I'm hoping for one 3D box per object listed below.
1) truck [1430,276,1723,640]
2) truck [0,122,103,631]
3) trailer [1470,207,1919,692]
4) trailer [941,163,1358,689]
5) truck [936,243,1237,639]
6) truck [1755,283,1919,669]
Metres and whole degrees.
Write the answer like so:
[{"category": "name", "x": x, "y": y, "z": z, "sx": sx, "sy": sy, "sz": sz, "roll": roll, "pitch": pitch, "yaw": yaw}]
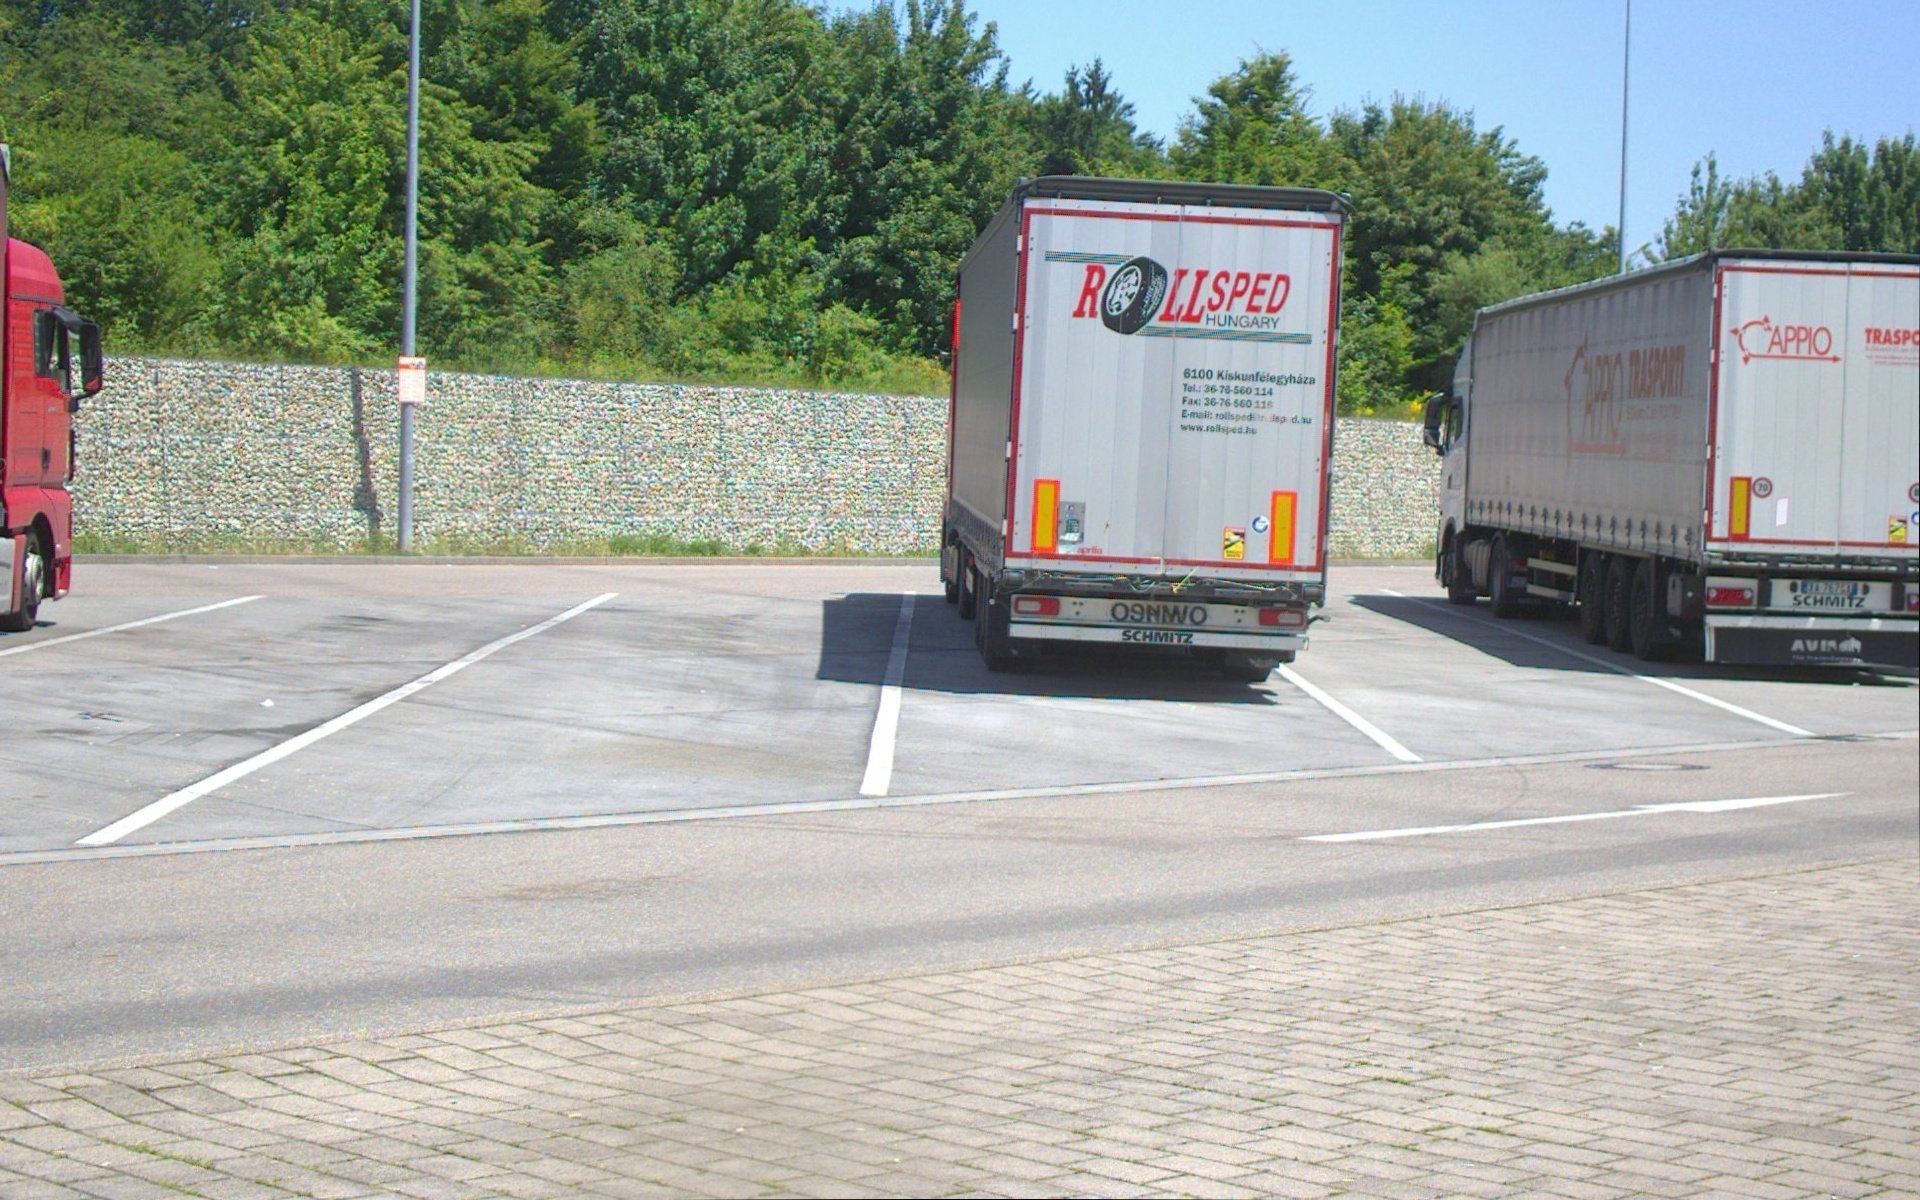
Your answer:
[{"category": "truck", "x": 7.975, "y": -1.833, "z": 45.154, "sx": 2.661, "sy": 4.437, "sz": 5.864, "roll": 1, "pitch": 2, "yaw": -1}, {"category": "truck", "x": -9.178, "y": -1.836, "z": 28.351, "sx": 2.805, "sy": 4.119, "sz": 5.894, "roll": 1, "pitch": 2, "yaw": -1}, {"category": "trailer", "x": 8.110, "y": -1.586, "z": 38.099, "sx": 2.681, "sy": 4.437, "sz": 12.831, "roll": 1, "pitch": 2, "yaw": -1}, {"category": "trailer", "x": 1.421, "y": -1.510, "z": 32.029, "sx": 2.897, "sy": 4.000, "sz": 11.319, "roll": 1, "pitch": 2, "yaw": -2}, {"category": "truck", "x": 1.253, "y": -1.703, "z": 37.743, "sx": 2.871, "sy": 3.967, "sz": 6.030, "roll": 1, "pitch": 2, "yaw": -2}, {"category": "truck", "x": 11.726, "y": -1.349, "z": 38.718, "sx": 2.587, "sy": 4.211, "sz": 11.971, "roll": 1, "pitch": 1, "yaw": -1}]
